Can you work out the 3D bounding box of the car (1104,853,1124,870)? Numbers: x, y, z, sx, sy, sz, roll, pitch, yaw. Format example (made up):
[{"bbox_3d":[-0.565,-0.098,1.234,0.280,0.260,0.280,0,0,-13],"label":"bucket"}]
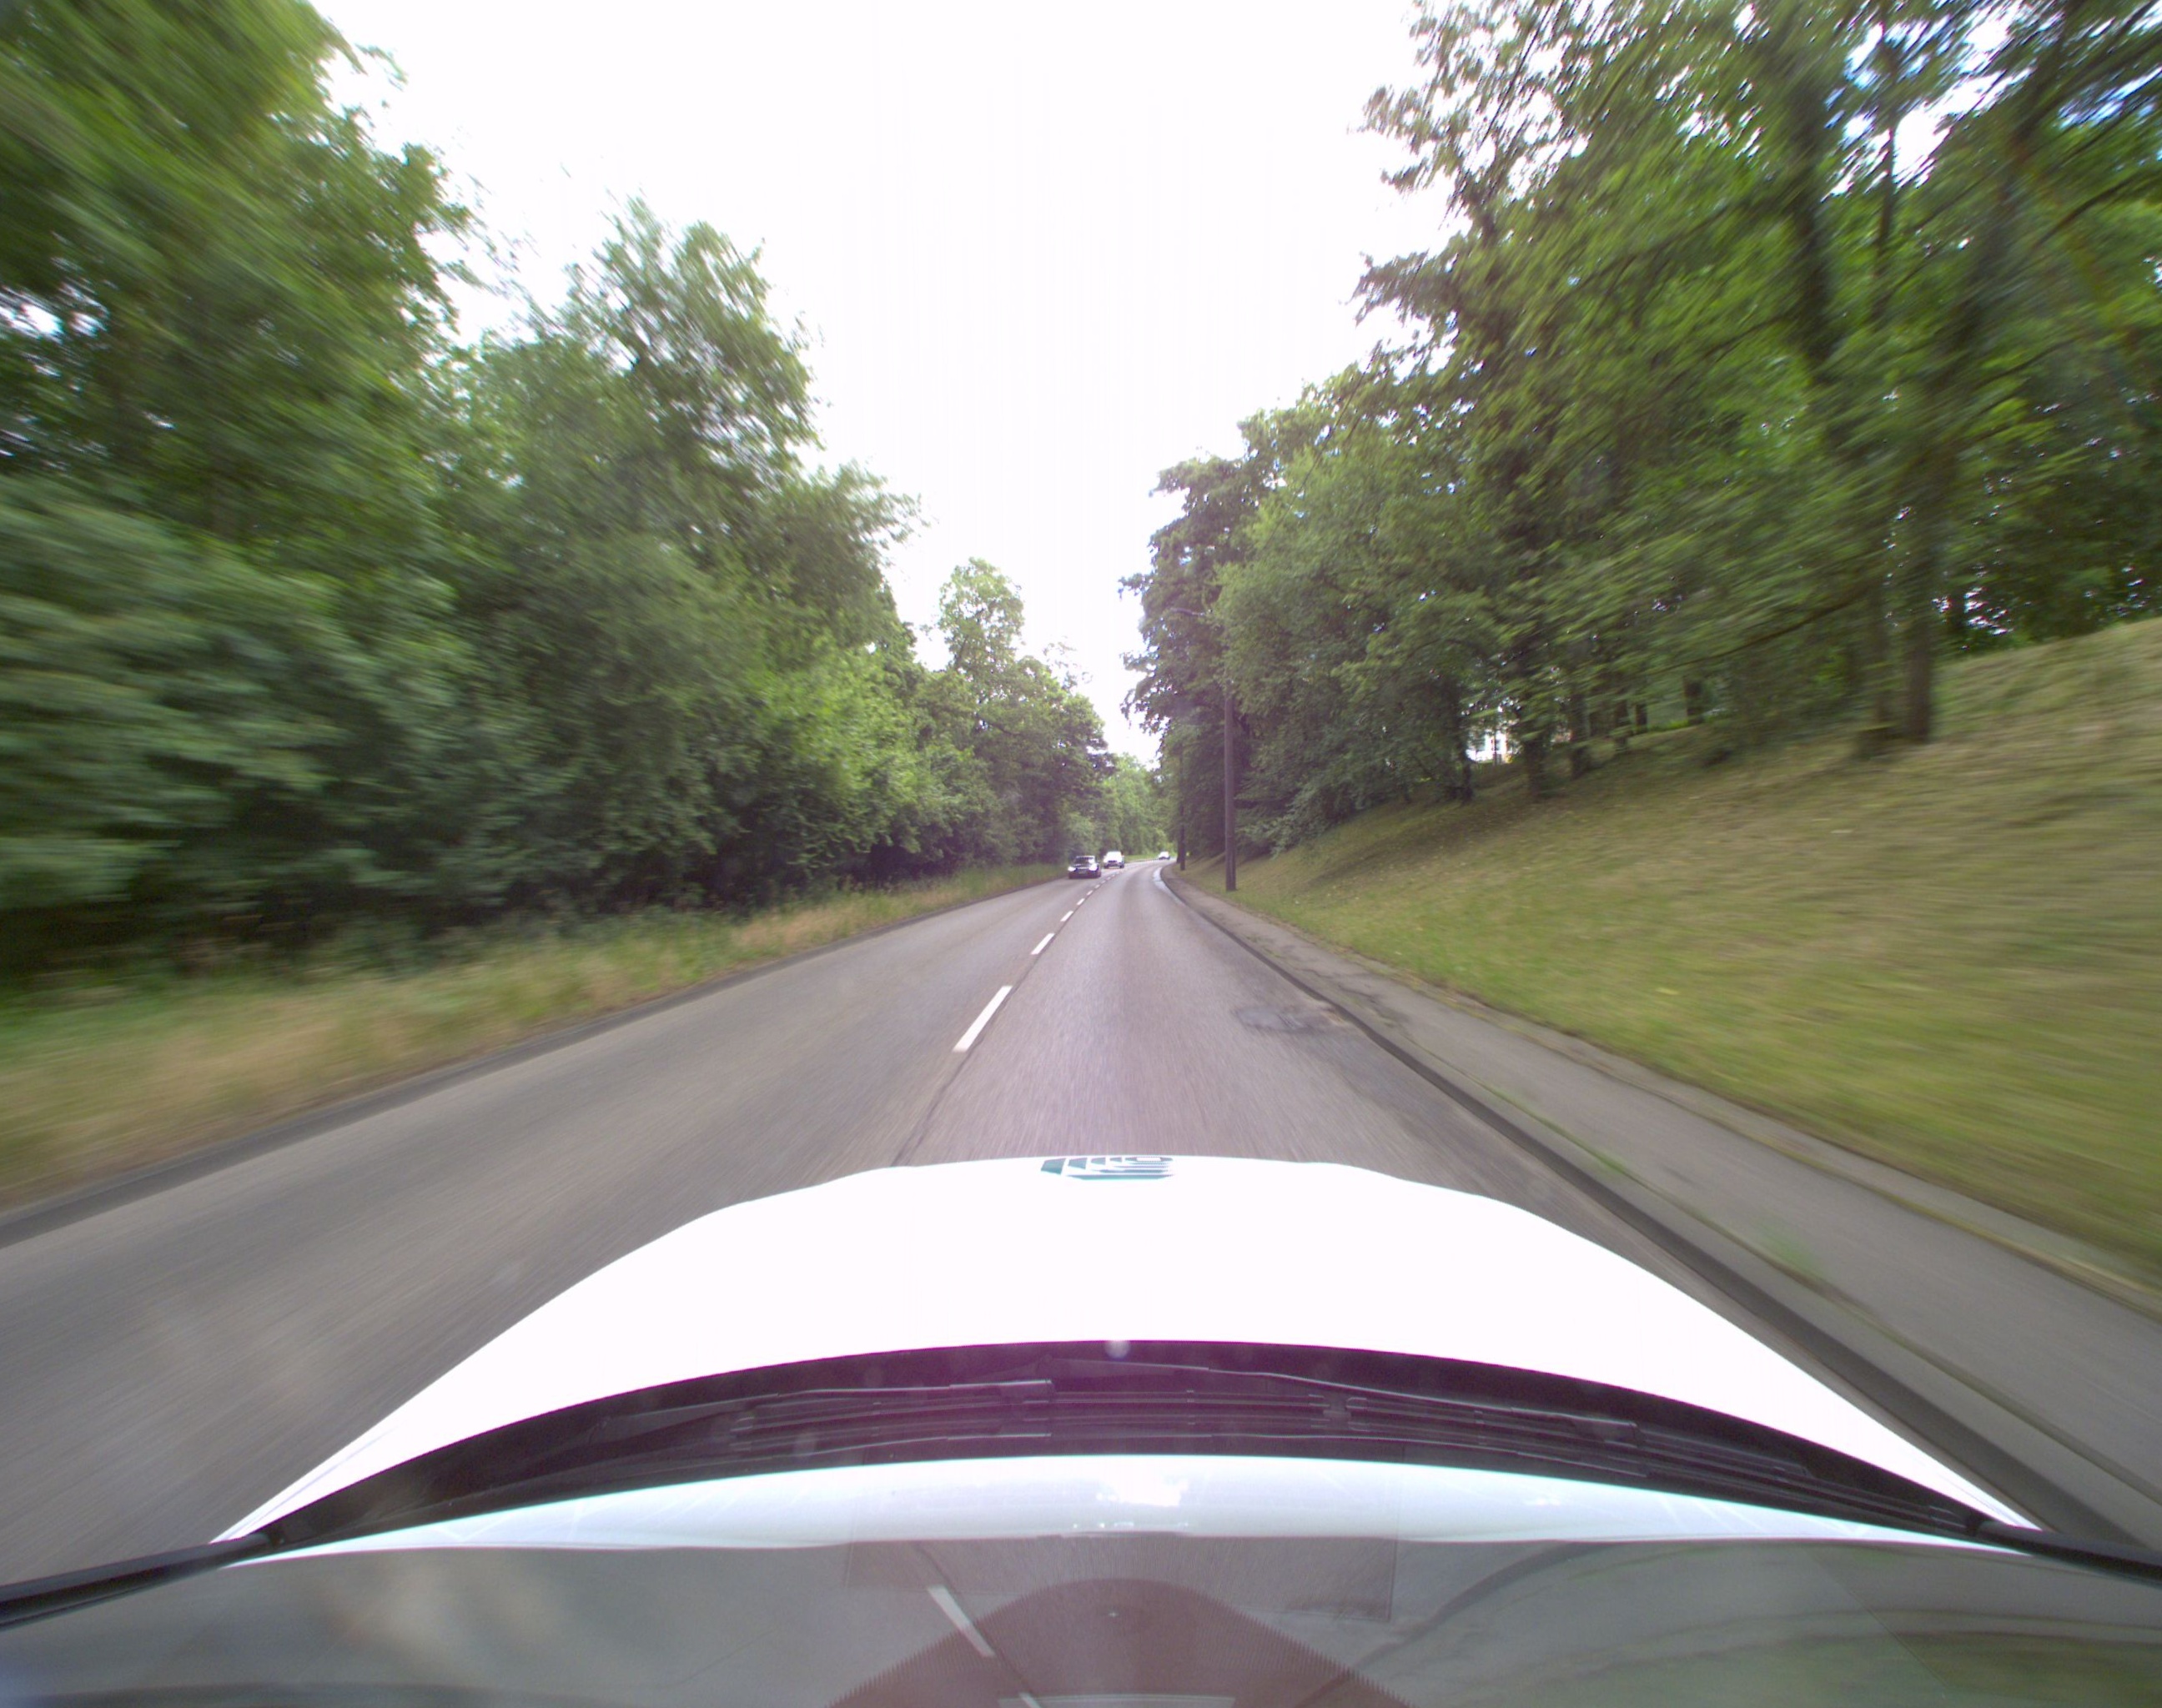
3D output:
[{"bbox_3d":[3.320,0.728,82.576,1.934,1.581,4.443,-1,0,2],"label":"car"}]

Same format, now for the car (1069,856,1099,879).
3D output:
[{"bbox_3d":[0.253,0.835,53.043,1.803,1.420,4.002,-1,0,2],"label":"car"}]

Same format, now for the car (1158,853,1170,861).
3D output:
[{"bbox_3d":[16.021,0.540,157.226,1.986,1.542,4.002,-1,0,2],"label":"car"}]
